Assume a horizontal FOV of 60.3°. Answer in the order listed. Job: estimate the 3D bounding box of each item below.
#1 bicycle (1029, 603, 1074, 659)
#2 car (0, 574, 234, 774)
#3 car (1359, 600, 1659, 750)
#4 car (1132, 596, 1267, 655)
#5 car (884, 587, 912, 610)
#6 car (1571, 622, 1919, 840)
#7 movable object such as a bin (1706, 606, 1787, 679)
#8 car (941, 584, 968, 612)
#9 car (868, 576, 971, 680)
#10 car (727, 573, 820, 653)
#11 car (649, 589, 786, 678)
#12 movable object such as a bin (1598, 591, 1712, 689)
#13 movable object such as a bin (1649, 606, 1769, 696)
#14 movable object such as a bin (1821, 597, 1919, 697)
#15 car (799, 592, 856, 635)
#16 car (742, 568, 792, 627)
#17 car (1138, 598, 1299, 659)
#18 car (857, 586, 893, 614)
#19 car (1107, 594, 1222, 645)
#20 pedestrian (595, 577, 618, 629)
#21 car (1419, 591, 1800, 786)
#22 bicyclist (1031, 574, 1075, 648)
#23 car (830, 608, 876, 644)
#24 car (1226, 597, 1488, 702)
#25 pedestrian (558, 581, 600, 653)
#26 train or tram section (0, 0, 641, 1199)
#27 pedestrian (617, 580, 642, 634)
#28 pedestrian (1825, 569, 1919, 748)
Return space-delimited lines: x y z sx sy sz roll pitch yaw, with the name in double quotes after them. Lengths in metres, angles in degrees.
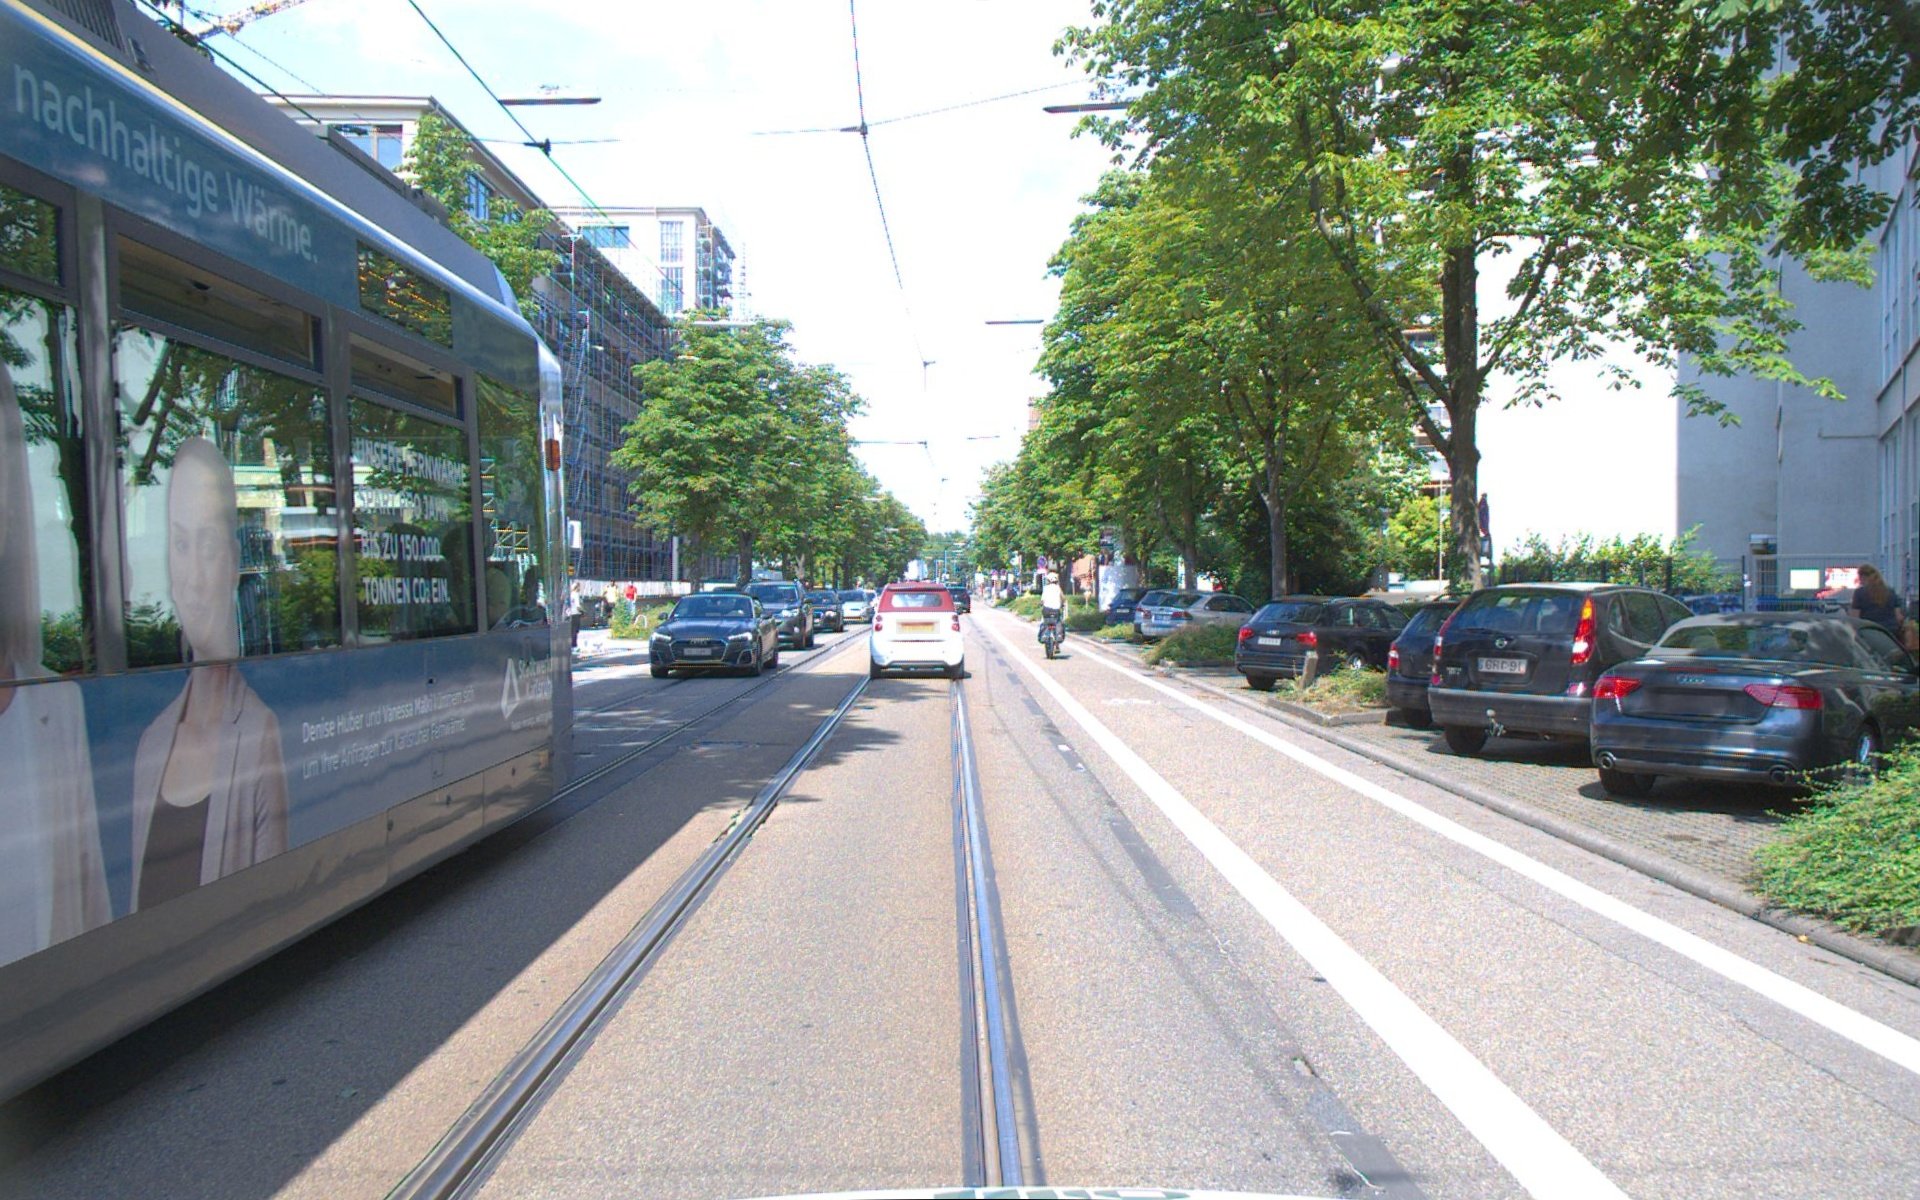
1.986 0.666 35.727 0.856 1.145 2.137 2 0 5 "bicycle"
-9.031 0.608 16.307 1.715 1.694 4.719 2 0 -2 "car"
6.480 0.788 19.294 1.698 1.468 4.046 3 2 45 "car"
6.624 0.689 45.534 3.773 1.500 1.628 1 1 -42 "car"
-4.371 -0.104 117.388 1.763 1.534 4.536 1 0 0 "car"
6.603 0.902 12.986 1.873 1.373 4.146 1 0 44 "car"
15.408 0.817 32.448 1.184 1.361 1.264 -1 0 15 "movable object such as a bin"
-0.360 -0.113 100.828 1.631 1.653 3.620 0 0 -1 "car"
-0.678 0.436 28.292 1.631 1.653 3.620 1 0 -1 "car"
-4.455 0.299 40.043 1.789 1.757 4.390 2 0 -2 "car"
-4.114 0.527 28.688 1.762 1.412 4.425 0 0 -1 "car"
11.521 0.647 27.478 1.249 1.566 1.469 1 0 -1 "movable object such as a bin"
11.662 0.780 25.799 1.249 1.341 1.325 1 0 -1 "movable object such as a bin"
14.083 0.715 25.411 1.346 1.472 1.264 -1 0 21 "movable object such as a bin"
-4.464 0.449 55.994 1.688 1.400 3.999 -1 0 -2 "car"
-9.182 -0.109 79.164 1.733 2.685 5.321 2 0 -1 "car"
6.655 0.694 42.424 4.201 1.445 1.700 0 1 -39 "car"
-4.421 -0.007 86.475 1.652 1.430 4.226 0 0 0 "car"
6.494 0.587 52.247 1.588 1.512 3.974 -1 0 43 "car"
-12.630 0.109 59.093 0.694 1.824 0.661 2 -1 -6 "pedestrian"
6.331 0.778 15.919 3.967 1.602 1.876 2 0 -43 "car"
2.029 0.229 35.952 0.871 1.555 1.086 2 0 5 "bicyclist"
-4.598 1.111 71.370 1.737 1.441 3.851 -2 0 -1 "car"
6.286 0.769 25.863 1.997 1.467 4.505 1 -1 44 "car"
-9.008 0.400 39.090 0.719 1.665 0.684 2 -1 -35 "pedestrian"
-3.451 -0.251 4.069 2.598 3.414 14.106 -2 0 0 "train or tram section"
-11.807 0.236 59.128 0.694 1.863 0.661 3 1 -6 "pedestrian"
10.119 0.625 18.182 0.744 1.906 1.003 0 0 5 "pedestrian"
